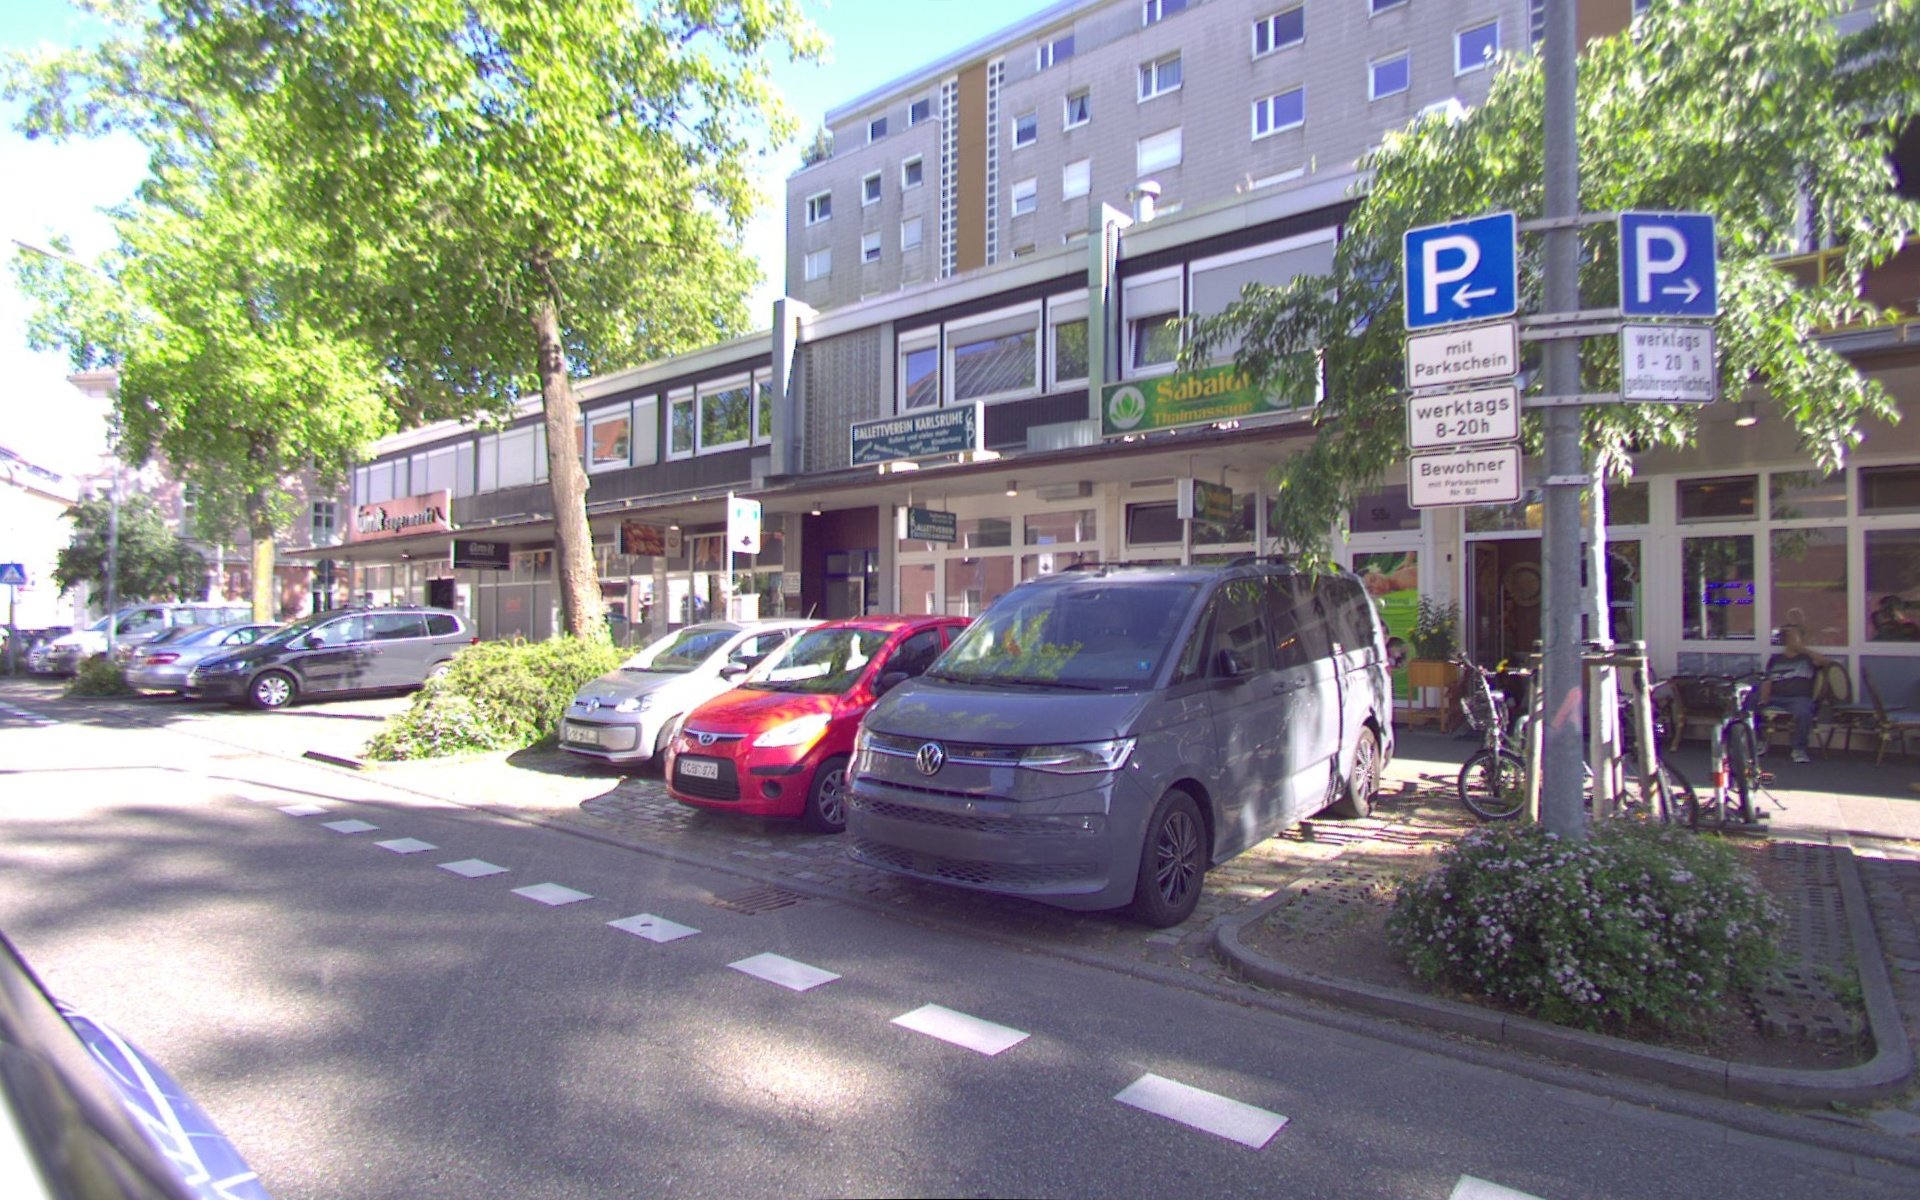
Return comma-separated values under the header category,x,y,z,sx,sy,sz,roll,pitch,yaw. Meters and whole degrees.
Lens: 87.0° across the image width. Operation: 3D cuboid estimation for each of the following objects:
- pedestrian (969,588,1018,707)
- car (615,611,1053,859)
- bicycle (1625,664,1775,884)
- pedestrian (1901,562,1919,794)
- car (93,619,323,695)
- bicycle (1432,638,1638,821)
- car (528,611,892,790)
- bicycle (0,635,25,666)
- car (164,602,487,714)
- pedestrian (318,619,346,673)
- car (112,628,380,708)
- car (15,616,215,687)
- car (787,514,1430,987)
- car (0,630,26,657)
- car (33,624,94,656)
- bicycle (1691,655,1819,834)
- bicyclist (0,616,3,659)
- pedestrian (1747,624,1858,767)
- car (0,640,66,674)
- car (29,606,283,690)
category,x,y,z,sx,sy,sz,roll,pitch,yaw
pedestrian,0.482,0.673,14.570,0.532,1.678,0.439,-2,-2,40
car,-0.864,0.907,8.491,1.659,1.566,3.524,-2,-1,37
bicycle,4.364,0.938,6.055,0.613,1.047,1.847,-1,-2,34
pedestrian,7.494,0.577,7.433,0.571,1.725,0.637,1,-2,-23
car,-17.365,1.246,23.540,1.734,1.431,3.950,-2,1,37
bicycle,4.410,0.886,7.674,0.801,1.176,2.211,-2,-3,44
car,-2.574,0.934,11.020,1.671,1.573,3.550,-2,-1,40
bicycle,-37.249,1.929,38.585,2.253,1.195,0.877,1,-2,-37
car,-11.519,0.953,18.694,1.872,1.790,4.722,-2,-1,39
pedestrian,-18.707,1.362,30.153,0.662,1.567,0.522,-1,-1,40
car,-13.852,1.254,19.829,1.757,1.409,3.950,-2,-2,37
car,-23.232,1.377,27.954,1.755,1.805,3.948,-2,-2,38
car,1.394,0.628,6.707,1.871,1.953,4.979,-2,-1,40
car,-57.083,2.532,59.784,1.585,1.464,3.305,5,-6,-21
car,-49.762,2.205,56.246,1.482,1.674,4.013,1,-2,-27
bicycle,5.577,0.931,7.100,0.614,1.047,1.844,-2,-2,39
bicyclist,-37.197,1.434,38.635,0.805,1.686,0.849,2,-3,-36
pedestrian,7.793,0.857,9.387,0.746,1.255,0.642,-2,-2,40
car,-47.314,2.858,51.566,1.645,1.650,4.061,1,-2,-27
car,-20.996,1.181,26.639,1.907,1.984,4.936,-2,-1,37
